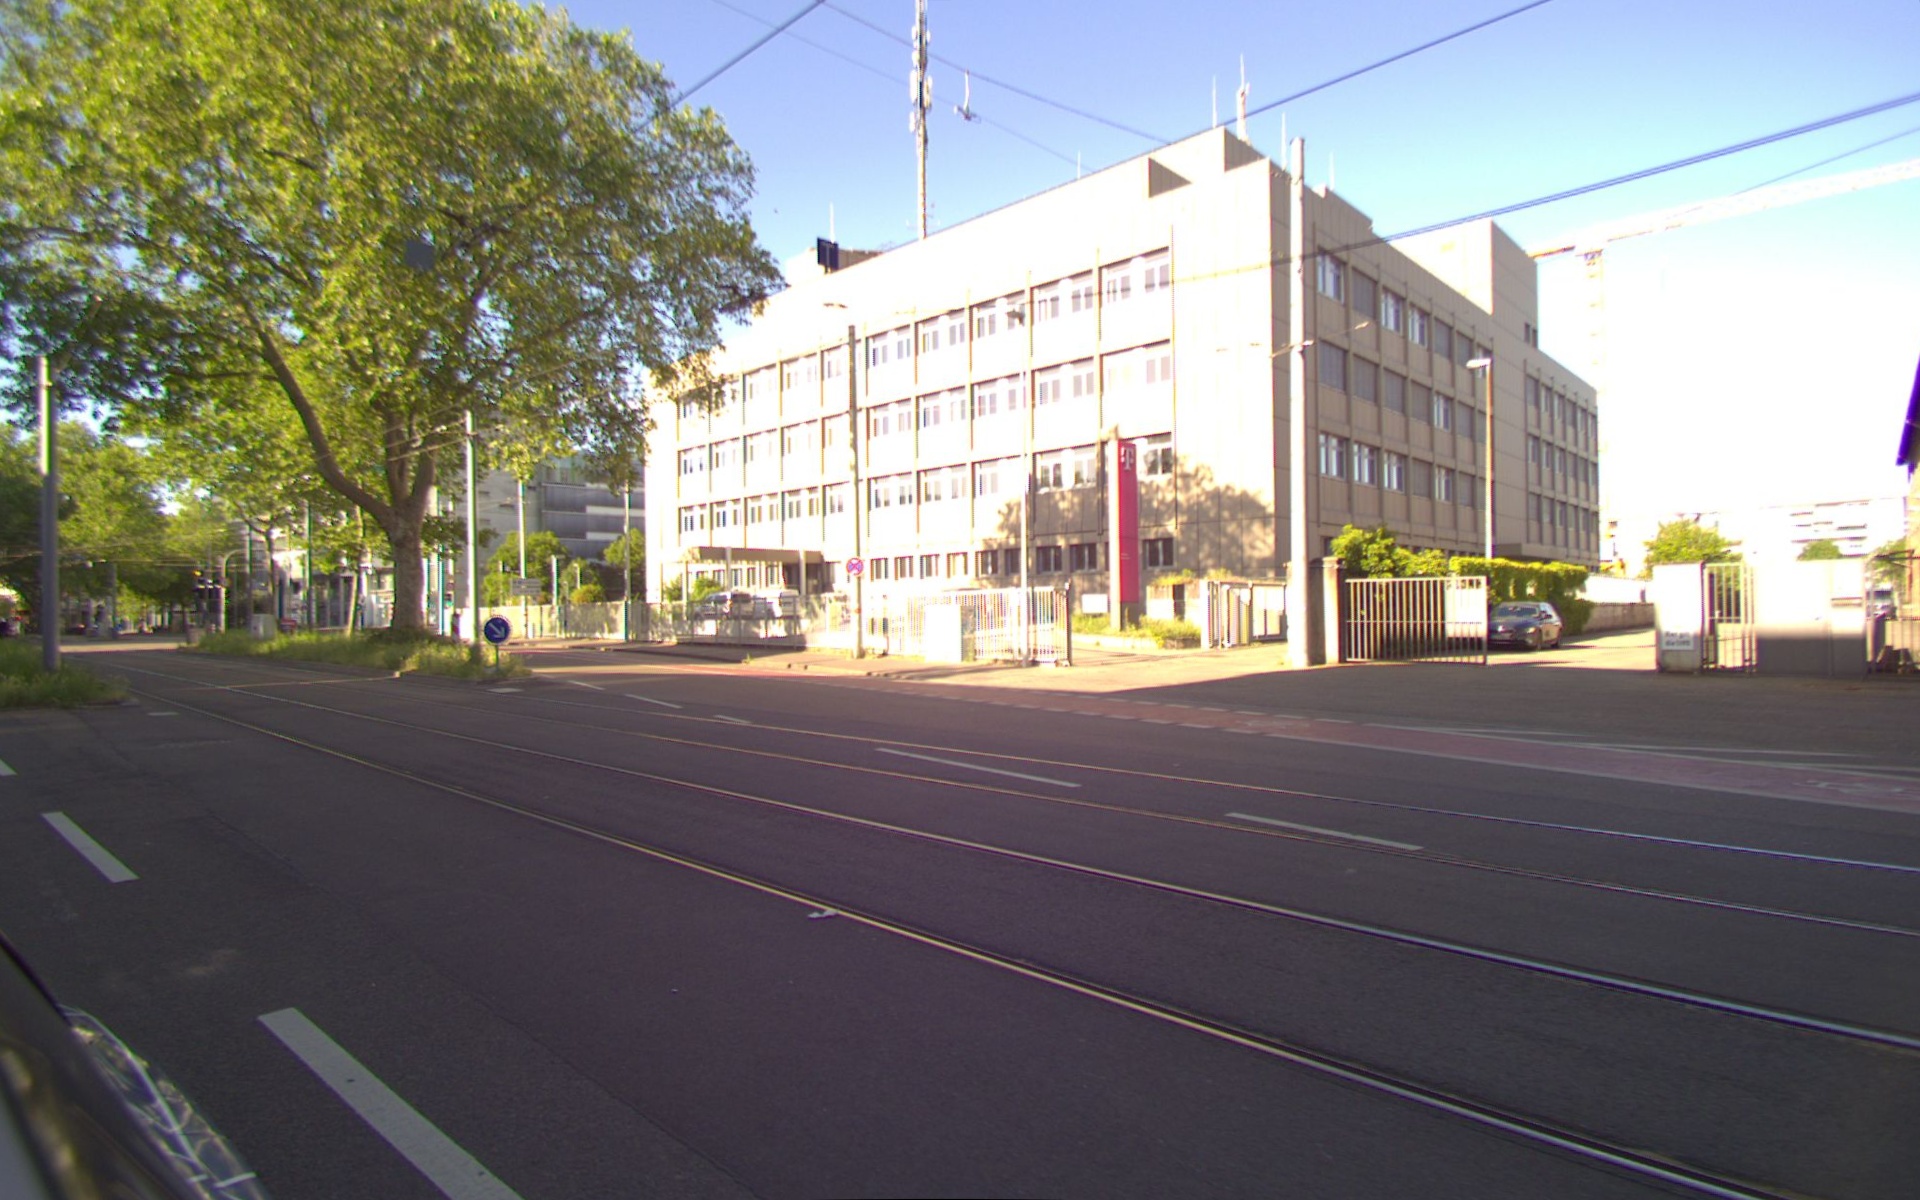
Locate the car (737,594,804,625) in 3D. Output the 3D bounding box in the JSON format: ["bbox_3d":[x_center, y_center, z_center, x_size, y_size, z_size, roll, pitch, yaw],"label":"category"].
[{"bbox_3d":[-11.017,0.560,58.788,4.000,1.765,1.827,-1,0,43],"label":"car"}]

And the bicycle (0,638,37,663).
[{"bbox_3d":[-45.967,2.467,48.802,0.759,1.137,2.056,-1,0,40],"label":"bicycle"}]

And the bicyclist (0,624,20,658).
[{"bbox_3d":[-46.027,1.976,48.753,0.759,1.588,0.994,-1,0,40],"label":"bicyclist"}]

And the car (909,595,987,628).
[{"bbox_3d":[-0.617,0.616,55.343,1.853,1.732,4.221,-1,0,42],"label":"car"}]

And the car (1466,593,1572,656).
[{"bbox_3d":[16.922,0.704,30.550,1.853,1.732,4.221,-1,0,42],"label":"car"}]

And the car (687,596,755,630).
[{"bbox_3d":[-13.503,0.731,57.121,4.000,1.831,1.827,-1,0,43],"label":"car"}]
